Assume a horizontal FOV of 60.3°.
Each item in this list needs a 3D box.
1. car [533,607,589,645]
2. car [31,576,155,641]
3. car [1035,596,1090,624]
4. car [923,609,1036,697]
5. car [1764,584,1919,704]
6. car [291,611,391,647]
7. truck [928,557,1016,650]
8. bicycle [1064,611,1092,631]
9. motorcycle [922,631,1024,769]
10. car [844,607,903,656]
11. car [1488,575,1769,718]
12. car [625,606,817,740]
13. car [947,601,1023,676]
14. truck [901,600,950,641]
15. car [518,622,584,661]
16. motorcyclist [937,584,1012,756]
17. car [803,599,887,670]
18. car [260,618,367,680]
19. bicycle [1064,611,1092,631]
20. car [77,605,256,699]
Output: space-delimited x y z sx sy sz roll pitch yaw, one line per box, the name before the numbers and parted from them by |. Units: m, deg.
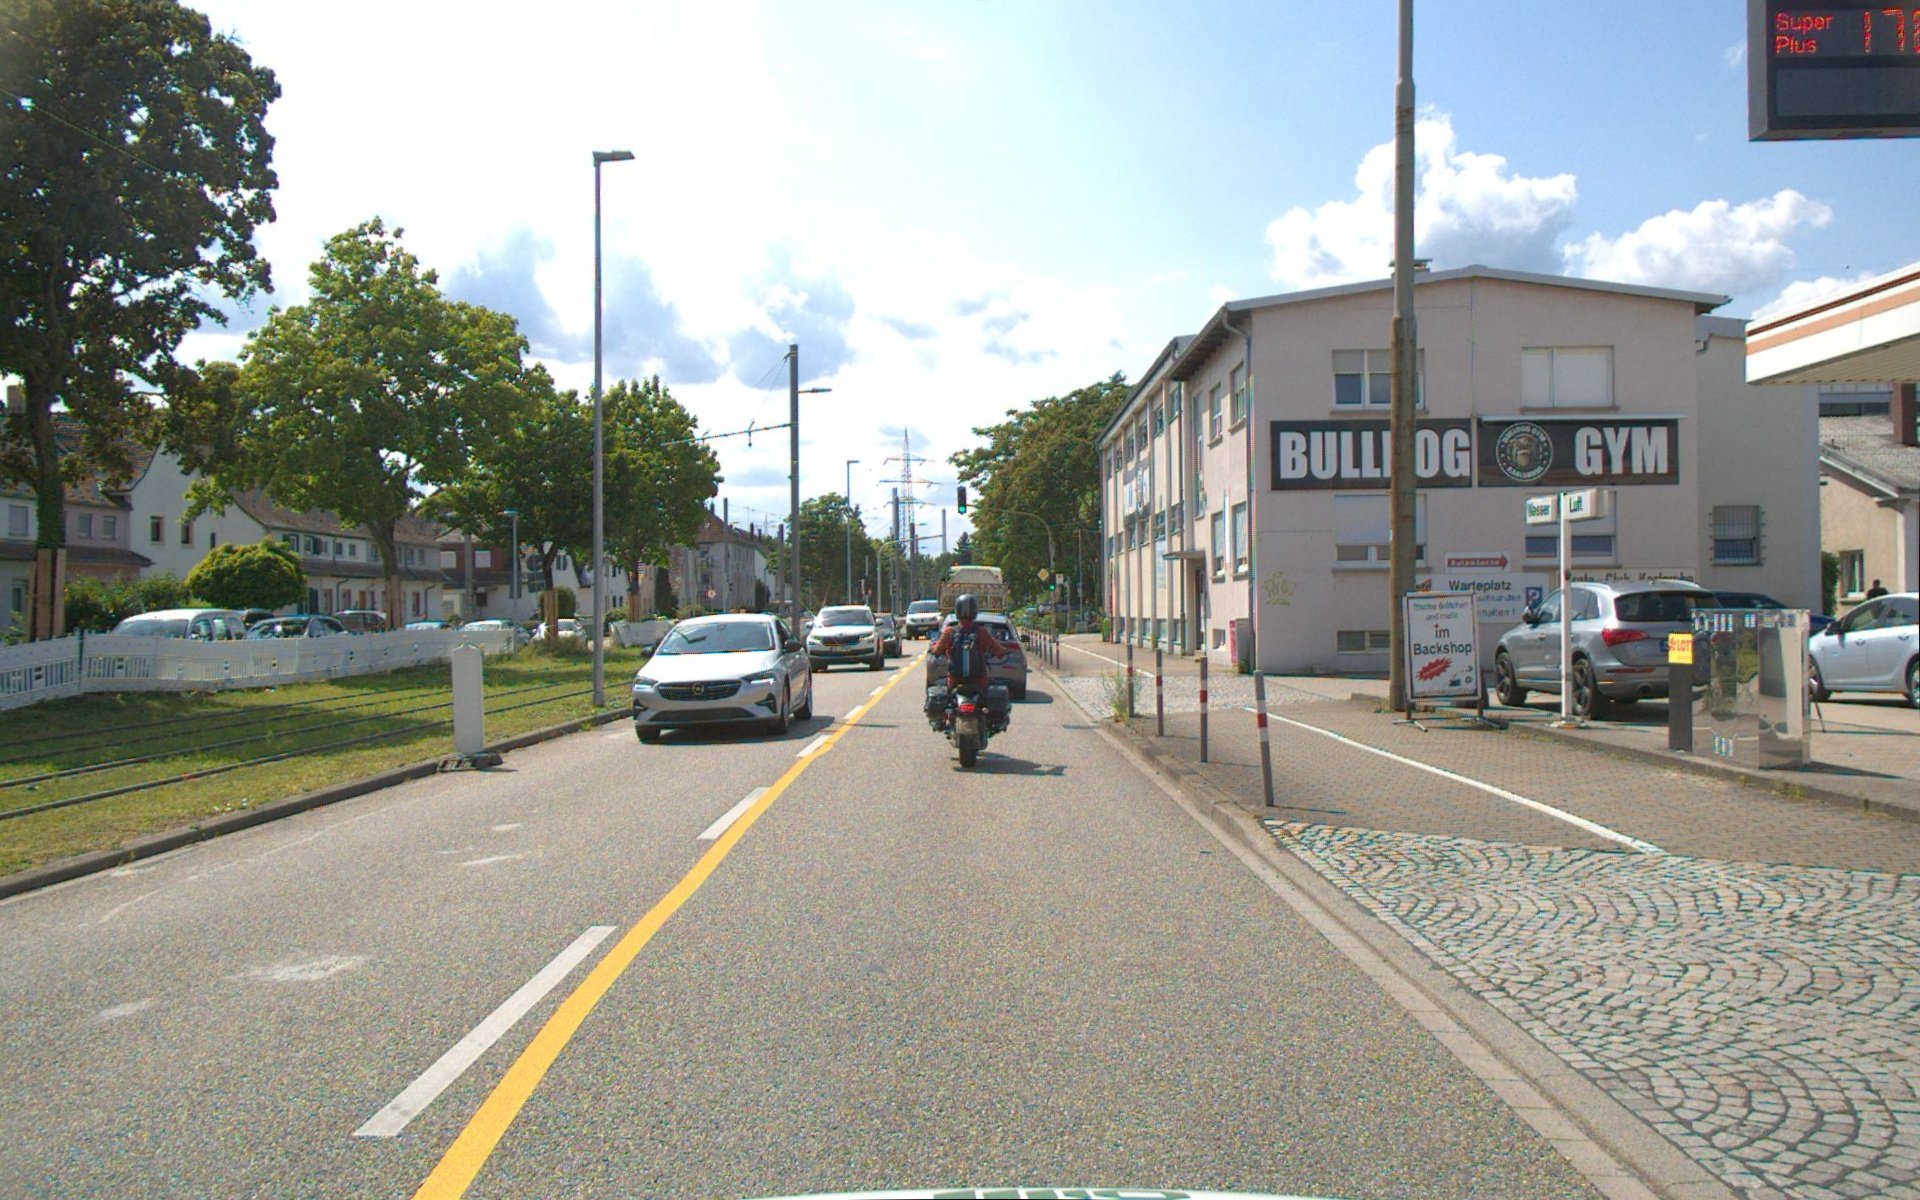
car | -16.064 1.038 66.731 1.511 1.400 4.247 -3 0 -5
car | -28.670 0.311 54.866 1.953 2.049 3.999 1 -1 0
car | 7.528 0.749 121.300 3.970 1.959 1.774 2 -1 -45
car | 0.284 0.907 29.887 1.697 1.428 4.083 2 0 -4
car | 12.753 0.549 22.146 1.658 1.496 4.421 -2 -1 -2
car | -28.369 1.305 75.881 3.905 1.536 1.726 -1 0 -1
truck | 0.553 0.185 62.478 2.905 3.229 7.766 1 -1 3
bicycle | 7.256 1.293 101.825 1.671 1.192 0.438 1 -1 6
motorcycle | 0.132 0.946 16.573 0.923 1.221 2.472 1 0 1
car | -2.831 1.028 54.816 1.658 1.437 3.859 -4 -1 0
car | 8.513 0.557 21.554 1.905 1.653 4.616 0 0 2
car | -2.907 0.862 20.975 1.784 1.470 4.483 -2 -1 -1
car | 0.679 0.960 43.506 1.862 1.742 4.720 -1 1 2
truck | -1.700 0.994 83.108 1.781 1.943 5.120 1 0 6
car | -15.198 1.516 61.596 1.490 1.378 3.621 1 -1 0
motorcyclist | 0.144 0.679 16.219 0.684 1.632 0.692 1 -1 0
car | -2.908 0.879 42.714 1.787 1.695 4.462 -2 -1 0
car | -15.579 1.168 39.993 1.322 1.401 3.114 -2 -1 0
bicycle | 7.211 1.286 101.172 1.671 1.192 0.438 1 -1 6
car | -15.502 0.989 32.529 1.589 1.680 3.899 -2 -1 0
